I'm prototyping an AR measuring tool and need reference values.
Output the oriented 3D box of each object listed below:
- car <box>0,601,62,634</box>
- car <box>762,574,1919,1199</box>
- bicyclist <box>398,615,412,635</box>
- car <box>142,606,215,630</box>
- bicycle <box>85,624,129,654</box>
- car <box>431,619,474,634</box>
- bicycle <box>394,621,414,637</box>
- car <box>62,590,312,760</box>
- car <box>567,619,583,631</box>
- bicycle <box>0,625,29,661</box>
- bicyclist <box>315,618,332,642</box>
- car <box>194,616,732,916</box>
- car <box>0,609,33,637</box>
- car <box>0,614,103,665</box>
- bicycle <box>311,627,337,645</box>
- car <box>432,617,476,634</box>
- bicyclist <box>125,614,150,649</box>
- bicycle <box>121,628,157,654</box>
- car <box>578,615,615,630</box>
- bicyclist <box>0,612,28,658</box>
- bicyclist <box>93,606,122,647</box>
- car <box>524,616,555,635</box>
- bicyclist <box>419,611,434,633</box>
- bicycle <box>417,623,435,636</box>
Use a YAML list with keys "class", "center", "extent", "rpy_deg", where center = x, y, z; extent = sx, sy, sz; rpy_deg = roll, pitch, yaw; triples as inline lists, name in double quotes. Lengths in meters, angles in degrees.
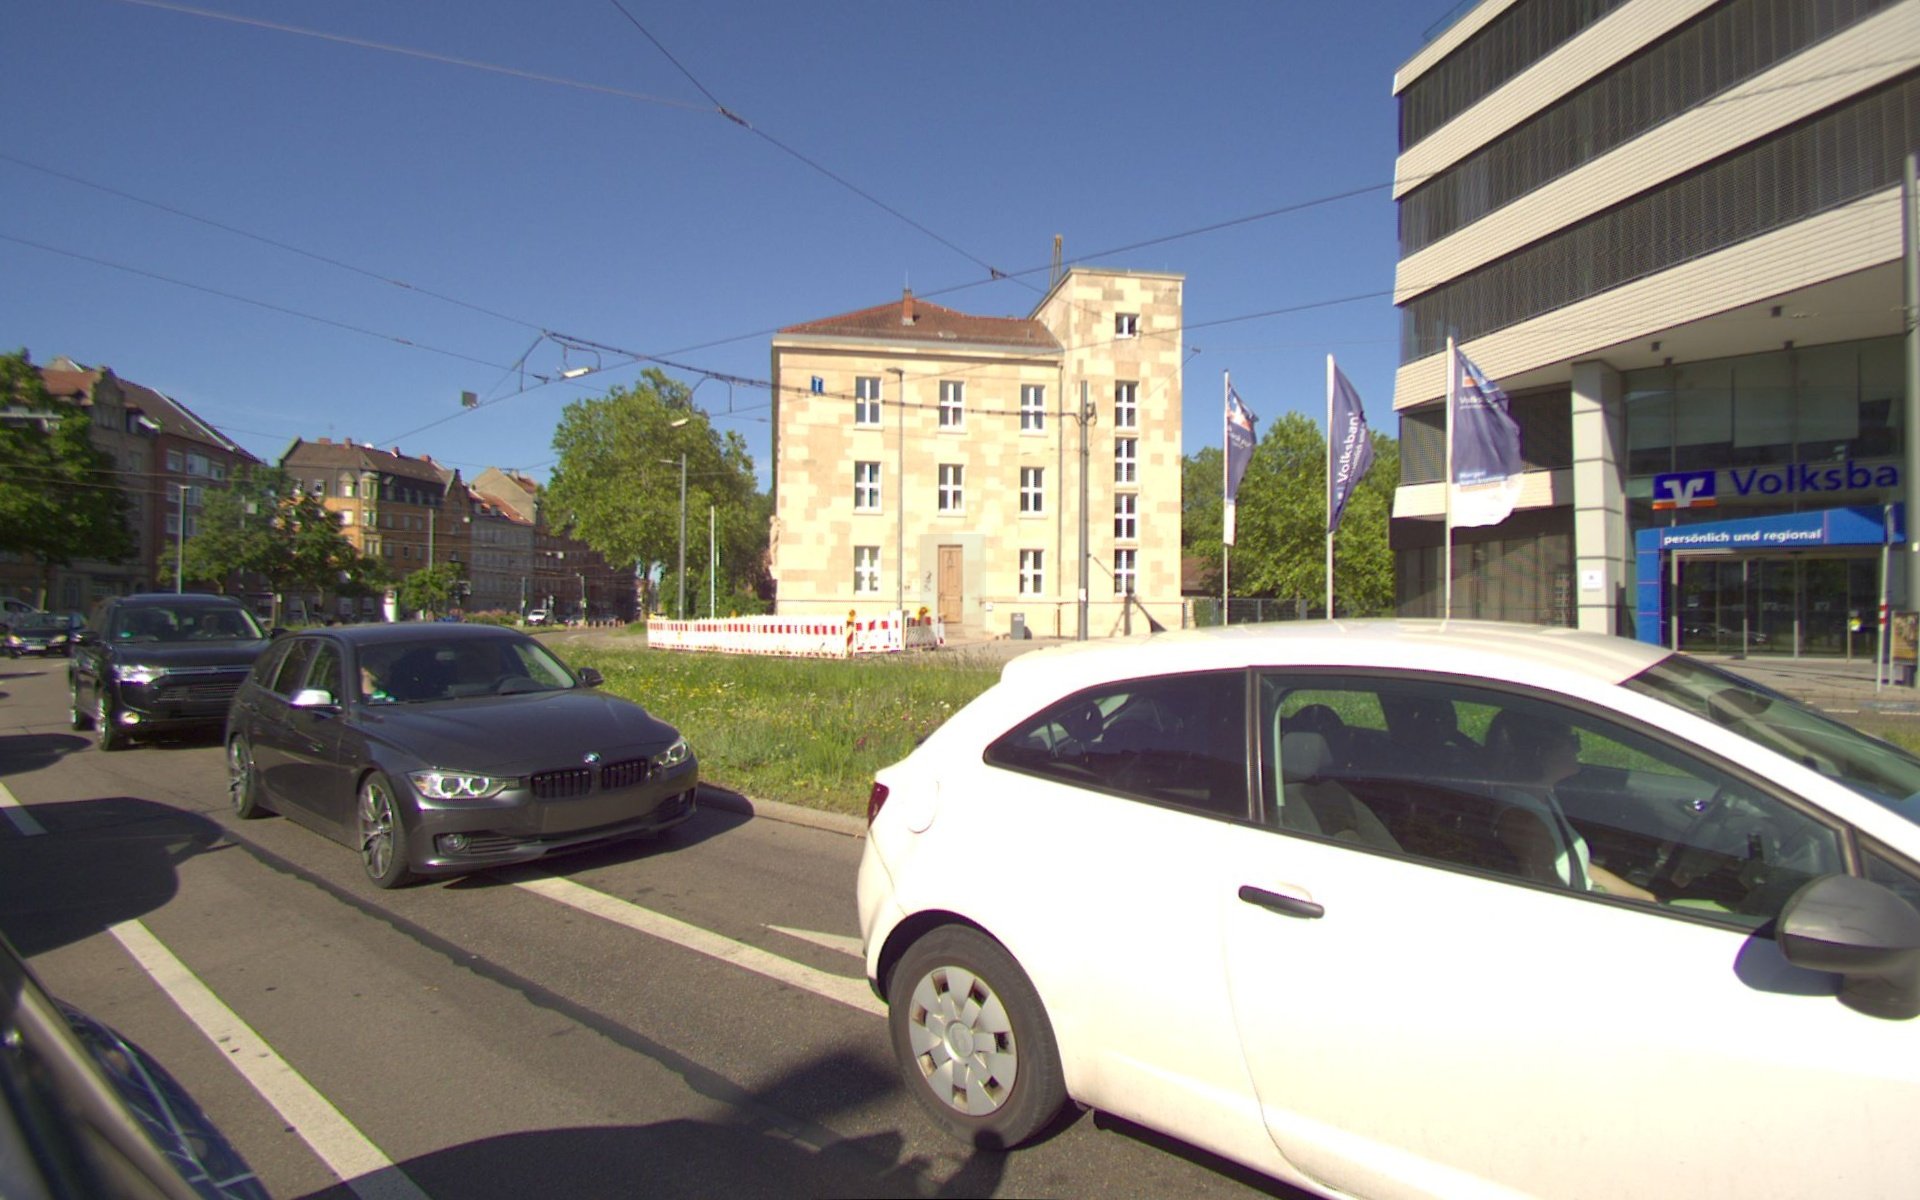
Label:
- class: "car"
  center: [-49.929, 0.888, 52.794]
  extent: [4.514, 1.680, 1.601]
  rpy_deg: [2, -2, -43]
- class: "car"
  center: [1.482, 0.692, 2.482]
  extent: [4.020, 1.452, 1.714]
  rpy_deg: [0, 2, 40]
- class: "bicyclist"
  center: [-46.967, 2.117, 85.653]
  extent: [0.724, 1.707, 0.972]
  rpy_deg: [0, -1, -6]
- class: "car"
  center: [-53.930, 1.269, 69.876]
  extent: [3.771, 1.603, 1.601]
  rpy_deg: [2, -2, -44]
- class: "bicycle"
  center: [-39.146, 1.777, 46.472]
  extent: [0.746, 1.310, 2.161]
  rpy_deg: [1, -1, -17]
- class: "car"
  center: [-57.889, 3.024, 115.469]
  extent: [4.002, 1.669, 1.771]
  rpy_deg: [1, -1, -13]
- class: "bicycle"
  center: [-46.982, 2.421, 85.585]
  extent: [0.726, 1.371, 2.078]
  rpy_deg: [0, -1, -6]
- class: "car"
  center: [-9.380, 0.770, 12.132]
  extent: [1.817, 1.658, 4.400]
  rpy_deg: [-1, -1, -45]
- class: "car"
  center: [-51.329, 3.359, 134.980]
  extent: [1.809, 1.483, 4.728]
  rpy_deg: [1, -1, -19]
- class: "bicycle"
  center: [-36.283, 1.622, 38.391]
  extent: [0.704, 1.337, 1.754]
  rpy_deg: [1, -3, -18]
- class: "bicyclist"
  center: [-44.219, 2.098, 70.303]
  extent: [0.659, 1.641, 0.973]
  rpy_deg: [0, -1, -6]
- class: "car"
  center: [-3.597, 0.825, 6.881]
  extent: [4.424, 1.377, 1.719]
  rpy_deg: [-1, 0, 41]
- class: "car"
  center: [-48.764, 1.149, 50.388]
  extent: [3.768, 1.390, 1.602]
  rpy_deg: [2, -2, -41]
- class: "car"
  center: [-32.074, 1.353, 35.735]
  extent: [1.809, 1.659, 4.162]
  rpy_deg: [2, -1, -27]
- class: "bicycle"
  center: [-44.222, 2.507, 70.390]
  extent: [0.658, 1.206, 2.157]
  rpy_deg: [0, -1, -7]
- class: "car"
  center: [-58.690, 2.927, 117.446]
  extent: [4.276, 1.896, 1.846]
  rpy_deg: [1, -1, -15]
- class: "bicyclist"
  center: [-39.924, 1.521, 49.116]
  extent: [0.620, 1.641, 0.974]
  rpy_deg: [0, -1, -17]
- class: "bicycle"
  center: [-39.964, 1.986, 49.278]
  extent: [0.627, 1.206, 2.161]
  rpy_deg: [0, -1, -18]
- class: "car"
  center: [-42.770, 2.664, 119.196]
  extent: [4.001, 1.669, 1.772]
  rpy_deg: [1, -1, -16]
- class: "bicyclist"
  center: [-36.275, 1.335, 38.499]
  extent: [0.704, 1.739, 1.097]
  rpy_deg: [1, -3, -16]
- class: "bicyclist"
  center: [-39.121, 1.215, 46.450]
  extent: [0.796, 1.880, 0.752]
  rpy_deg: [1, 0, -18]
- class: "car"
  center: [-49.007, 2.995, 118.089]
  extent: [1.953, 2.101, 4.719]
  rpy_deg: [1, -1, -5]
- class: "bicyclist"
  center: [-48.804, 1.996, 92.574]
  extent: [0.836, 2.029, 1.198]
  rpy_deg: [0, -1, -9]
- class: "bicycle"
  center: [-48.832, 2.659, 92.556]
  extent: [0.752, 1.153, 2.287]
  rpy_deg: [0, -1, -10]
